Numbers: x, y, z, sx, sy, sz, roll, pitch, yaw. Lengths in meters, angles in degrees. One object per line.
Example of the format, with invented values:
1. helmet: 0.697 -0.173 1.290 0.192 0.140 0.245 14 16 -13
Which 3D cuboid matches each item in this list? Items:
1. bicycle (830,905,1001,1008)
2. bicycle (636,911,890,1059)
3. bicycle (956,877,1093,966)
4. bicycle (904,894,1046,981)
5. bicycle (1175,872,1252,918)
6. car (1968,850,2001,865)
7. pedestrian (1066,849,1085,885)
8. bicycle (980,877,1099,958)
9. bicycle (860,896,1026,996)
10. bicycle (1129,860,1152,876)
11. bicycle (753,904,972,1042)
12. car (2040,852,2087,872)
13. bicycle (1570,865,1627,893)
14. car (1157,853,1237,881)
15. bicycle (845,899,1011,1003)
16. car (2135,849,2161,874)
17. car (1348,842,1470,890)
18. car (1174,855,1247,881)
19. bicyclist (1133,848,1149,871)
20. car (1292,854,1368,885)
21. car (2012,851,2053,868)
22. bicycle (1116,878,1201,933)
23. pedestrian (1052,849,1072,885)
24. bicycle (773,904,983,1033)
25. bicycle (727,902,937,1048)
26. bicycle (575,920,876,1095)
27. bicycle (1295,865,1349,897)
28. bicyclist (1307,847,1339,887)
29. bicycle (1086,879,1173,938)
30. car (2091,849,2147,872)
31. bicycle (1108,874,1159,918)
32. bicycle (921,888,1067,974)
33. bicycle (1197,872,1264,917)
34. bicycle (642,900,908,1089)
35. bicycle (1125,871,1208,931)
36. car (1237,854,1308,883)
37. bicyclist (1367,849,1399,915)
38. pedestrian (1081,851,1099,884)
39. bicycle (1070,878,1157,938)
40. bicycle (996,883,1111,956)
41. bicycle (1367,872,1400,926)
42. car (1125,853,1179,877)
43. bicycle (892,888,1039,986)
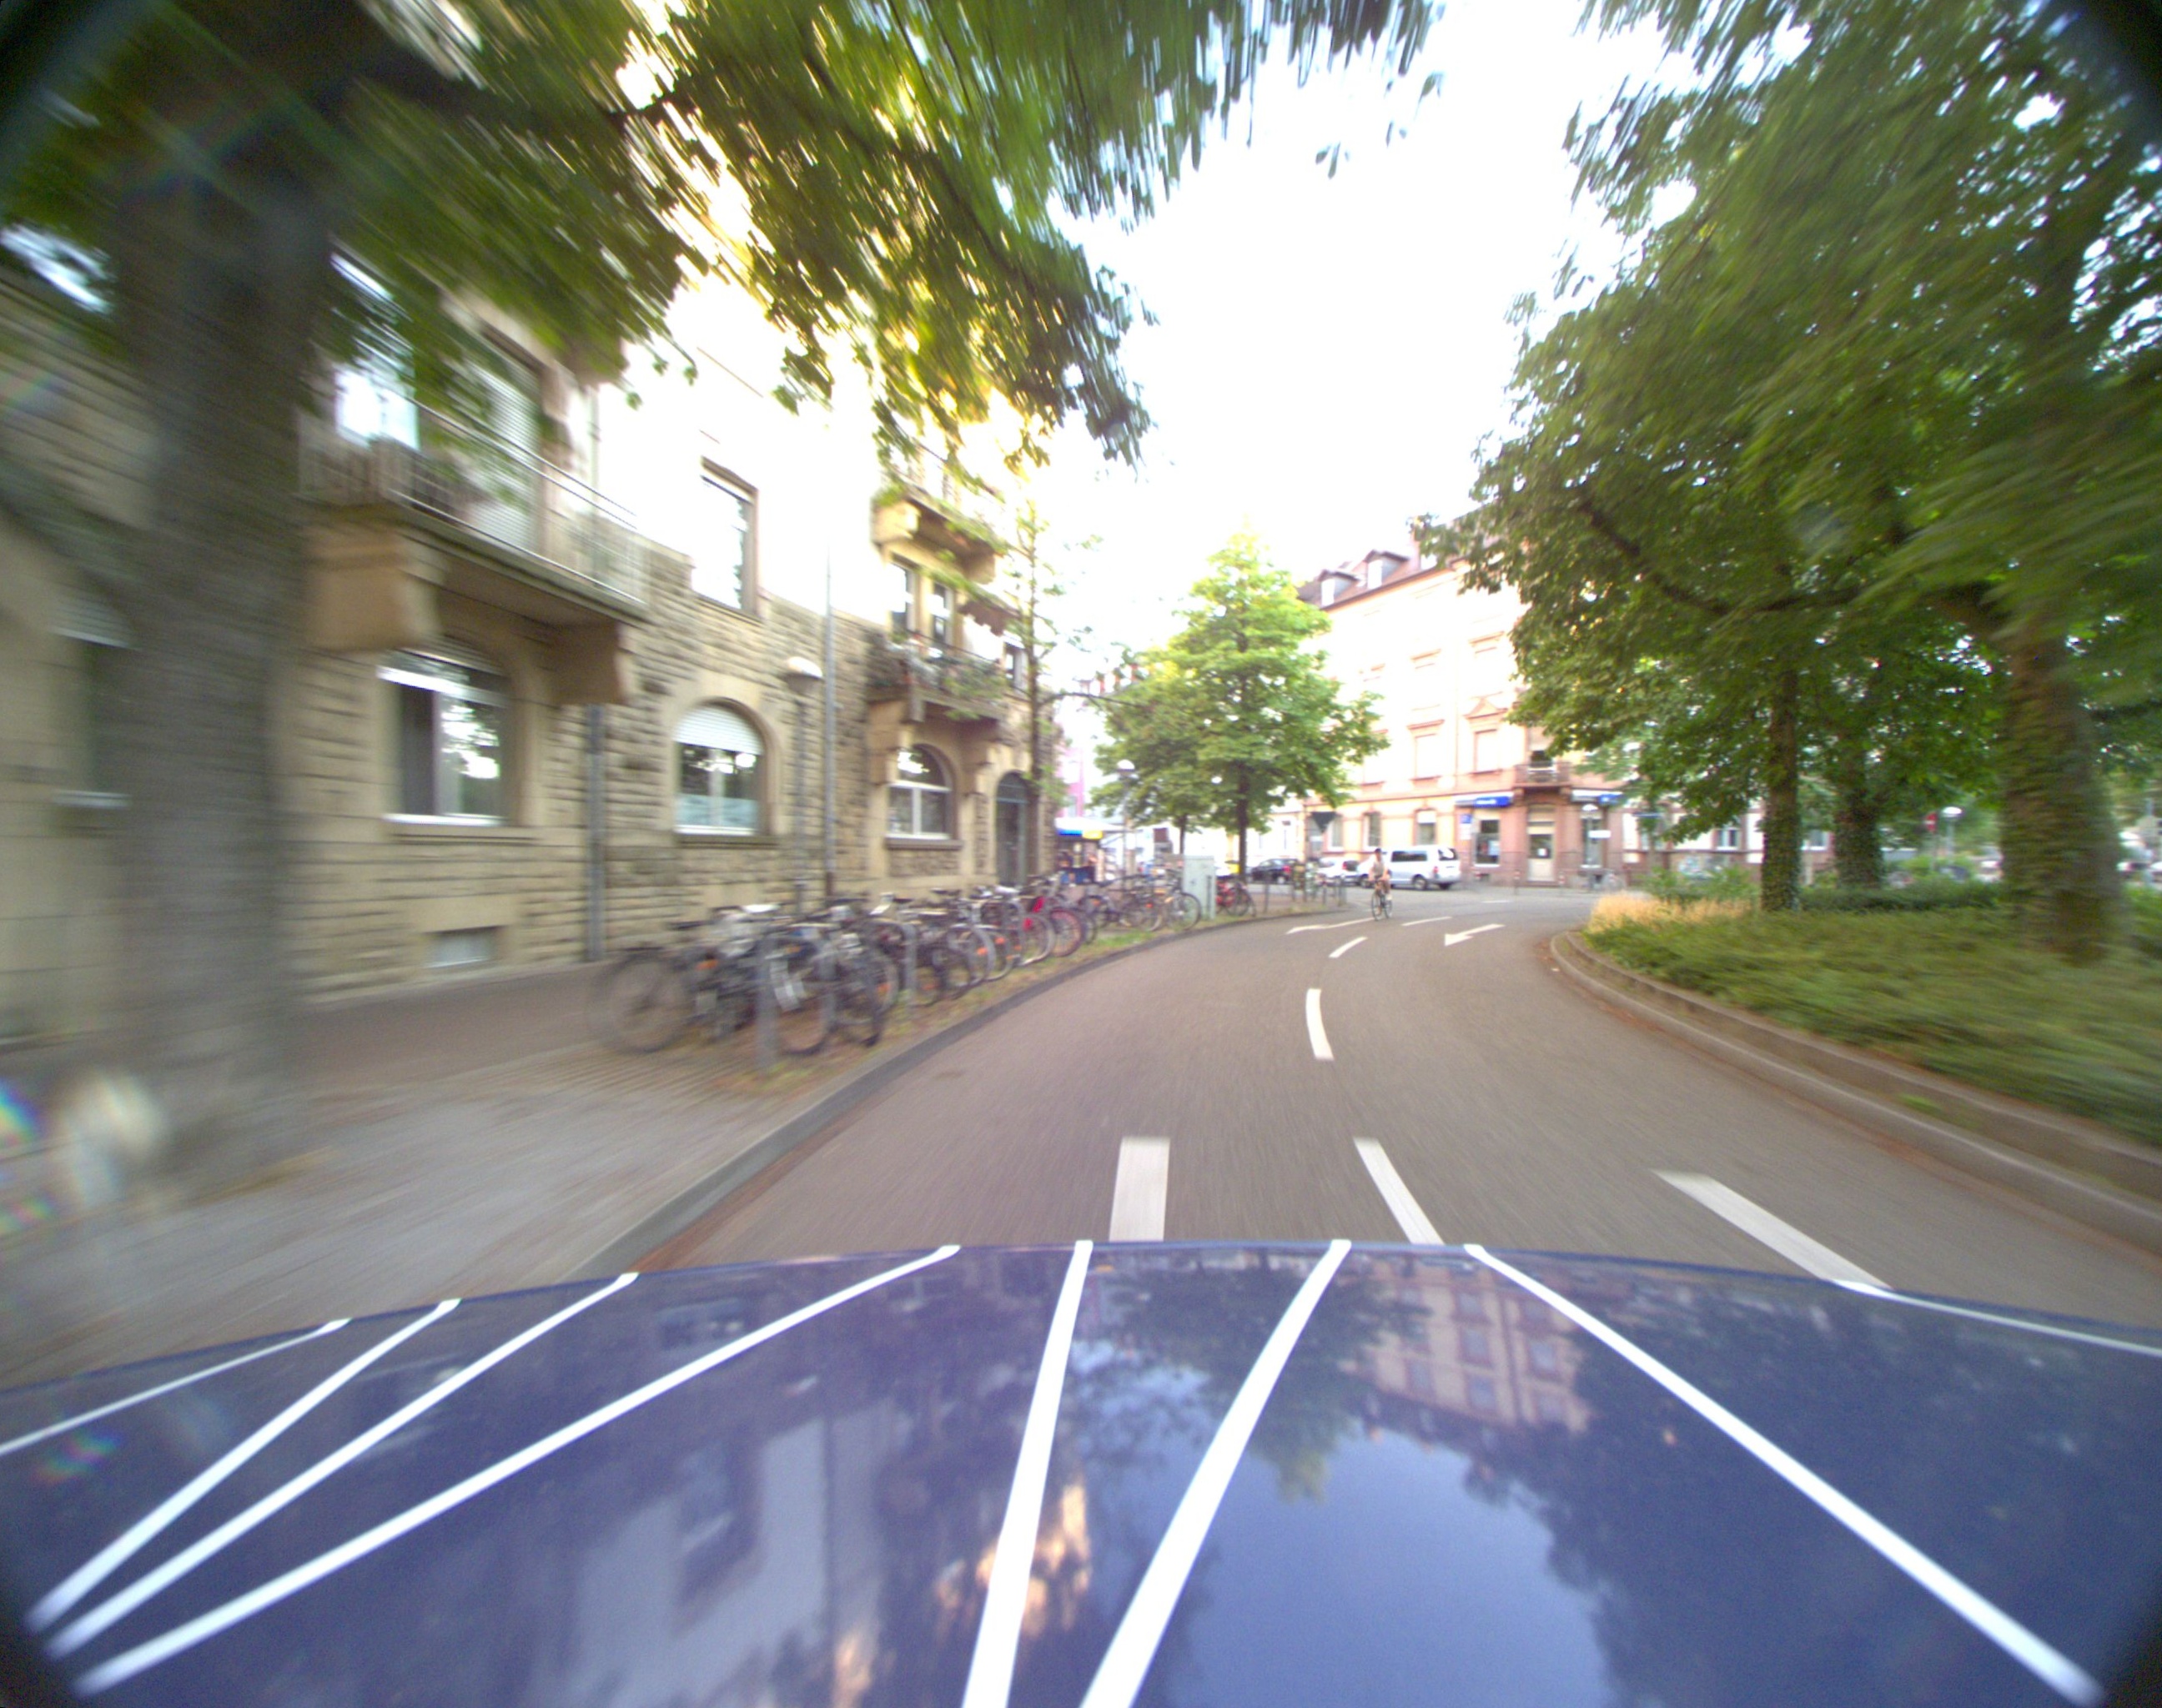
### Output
1. bicycle: -1.815 1.088 8.299 1.851 0.994 0.419 0 1 16
2. bicycle: -2.568 1.049 6.299 1.855 1.098 0.573 0 1 -7
3. bicycle: -0.830 0.949 11.058 1.917 1.193 0.553 0 1 18
4. bicycle: -1.395 1.055 9.893 1.851 1.008 0.419 0 1 20
5. bicycle: 3.252 0.989 18.745 1.893 1.033 0.433 1 1 40
6. car: 113.535 0.429 95.482 1.904 1.839 4.009 1 1 39
7. pedestrian: -0.259 0.606 35.182 0.589 1.627 0.680 1 1 31
8. bicycle: -0.651 0.953 11.774 1.792 1.161 0.448 0 1 20
9. bicycle: -1.648 1.059 9.060 1.917 1.055 0.536 0 1 17
10. bicycle: 4.038 0.938 51.425 0.686 1.088 1.804 0 0 -29
11. bicycle: -2.025 1.087 7.108 1.851 1.126 0.418 0 20 16
12. car: 96.443 0.757 74.633 1.904 1.839 4.009 1 1 39
13. bicycle: 20.635 0.988 30.324 0.562 1.077 1.793 -2 2 -42
14. car: 6.611 0.704 43.853 2.003 1.508 4.829 0 0 -30
15. bicycle: -1.739 1.068 8.581 1.851 1.045 0.419 0 1 16
16. car: 83.480 0.570 58.356 1.904 1.839 4.009 1 1 39
17. car: 15.136 0.503 35.394 2.050 2.045 4.993 -2 1 -28
18. car: 8.088 0.866 47.902 1.847 1.517 4.790 -2 1 -31
19. bicyclist: 4.044 0.375 51.415 0.680 1.536 0.873 0 1 -29
20. car: 13.007 0.777 39.851 1.692 1.483 3.605 -2 1 -30
21. car: 102.399 0.561 81.798 1.904 1.839 4.009 1 1 39
22. bicycle: 1.565 1.023 15.354 1.603 1.015 0.556 1 1 28
23. pedestrian: -0.847 0.570 34.291 0.679 1.627 0.589 0 1 -30
24. bicycle: -1.958 1.089 7.376 1.851 1.088 0.418 0 20 16
25. bicycle: -2.217 1.032 6.742 1.851 1.138 0.419 0 1 16
26. bicycle: -2.442 1.047 5.317 1.883 1.132 0.492 -1 -3 3
27. bicycle: 9.096 1.000 28.743 0.687 1.144 2.110 0 0 -26
28. bicyclist: 9.124 0.478 28.691 0.687 1.503 0.971 0 0 -26
29. bicycle: 0.928 1.026 14.667 1.603 1.057 0.419 0 1 24
30. car: 89.102 0.524 65.280 1.904 1.839 4.009 1 1 39
31. bicycle: 1.285 0.991 18.341 0.431 0.963 1.730 1 1 33
32. bicycle: -1.199 1.023 10.410 1.917 1.058 0.553 0 1 18
33. bicycle: 3.700 0.991 18.857 1.603 1.033 0.433 1 1 40
34. bicycle: -2.300 1.008 5.731 1.881 1.211 0.492 0 7 16
35. bicycle: 1.771 0.951 15.746 1.603 1.141 0.556 1 1 28
36. car: 10.814 0.784 43.147 1.737 1.483 3.733 -2 1 -33
37. bicyclist: 7.131 0.638 17.958 0.685 1.503 0.974 0 0 21
38. pedestrian: 0.423 0.607 35.579 0.589 1.530 0.680 1 1 31
39. bicycle: 0.603 1.001 14.395 1.603 1.069 0.419 0 1 24
40. bicycle: -0.442 1.021 12.131 1.792 1.057 0.448 0 1 20
41. bicycle: 7.119 1.015 17.922 0.685 1.144 2.118 0 0 21
42. car: 4.935 0.768 53.622 1.808 1.583 4.136 -2 1 -28
43. bicycle: -1.469 1.016 9.574 1.851 1.110 0.419 0 1 20
